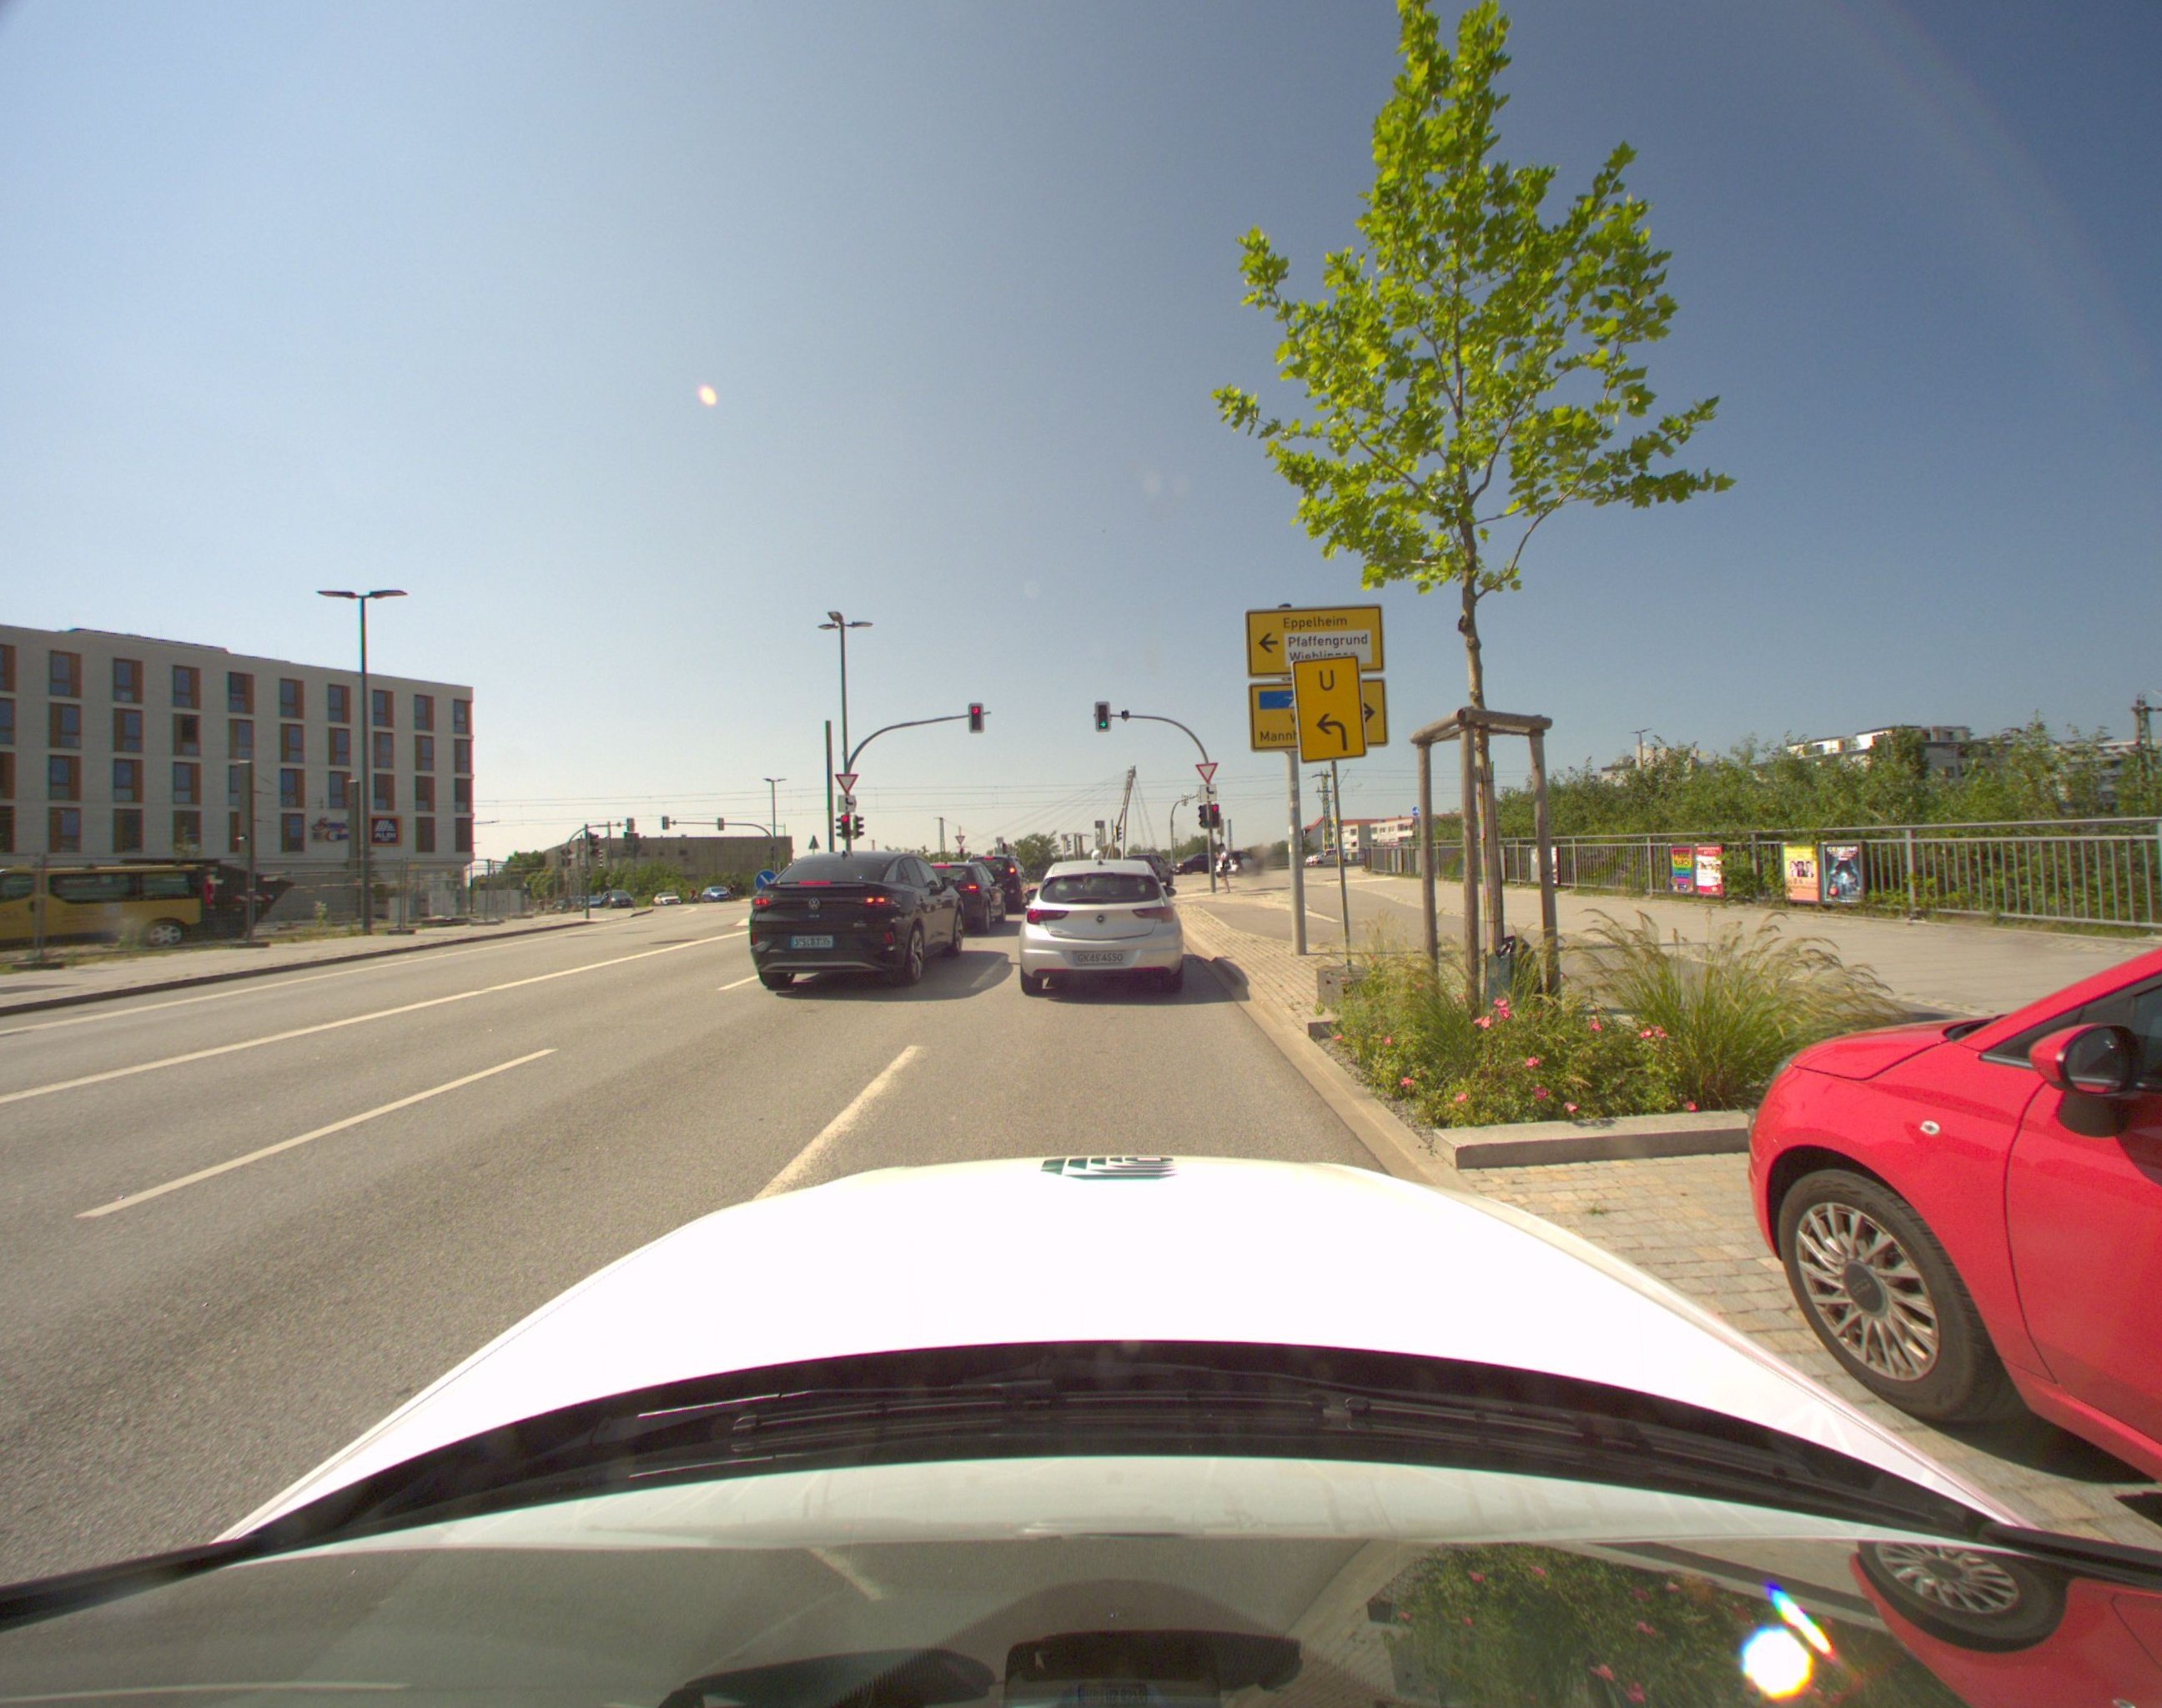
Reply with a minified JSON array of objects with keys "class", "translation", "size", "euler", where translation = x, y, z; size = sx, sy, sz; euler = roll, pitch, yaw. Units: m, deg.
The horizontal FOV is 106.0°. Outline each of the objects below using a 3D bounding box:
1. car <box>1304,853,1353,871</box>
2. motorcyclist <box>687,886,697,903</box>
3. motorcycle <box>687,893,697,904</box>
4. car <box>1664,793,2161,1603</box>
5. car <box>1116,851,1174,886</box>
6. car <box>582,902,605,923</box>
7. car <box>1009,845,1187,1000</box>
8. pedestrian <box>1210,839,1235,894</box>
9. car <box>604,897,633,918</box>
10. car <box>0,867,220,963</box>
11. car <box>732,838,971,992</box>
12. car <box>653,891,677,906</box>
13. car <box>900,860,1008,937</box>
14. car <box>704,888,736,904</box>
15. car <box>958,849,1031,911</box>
[{"class":"car","translation":[20.955,0.672,68.890],"size":[3.628,1.486,1.683],"euler":[0,-1,-13]},{"class":"motorcyclist","translation":[-36.159,3.768,75.651],"size":[0.756,1.494,0.670],"euler":[0,-1,-35]},{"class":"motorcycle","translation":[-36.118,4.155,75.581],"size":[0.523,0.955,1.914],"euler":[0,-1,-34]},{"class":"car","translation":[2.742,0.600,1.089],"size":[1.603,1.496,3.356],"euler":[-4,0,4]},{"class":"car","translation":[3.085,0.642,38.423],"size":[1.710,1.564,4.020],"euler":[0,0,19]},{"class":"car","translation":[-43.456,5.198,72.581],"size":[1.578,1.587,3.442],"euler":[0,-1,-35]},{"class":"car","translation":[0.179,0.713,10.230],"size":[1.737,1.478,3.999],"euler":[-3,-1,0]},{"class":"pedestrian","translation":[4.945,0.441,28.421],"size":[0.645,1.836,0.798],"euler":[-3,-1,0]},{"class":"car","translation":[-37.718,4.338,66.424],"size":[1.686,1.476,3.368],"euler":[-2,0,-36]},{"class":"car","translation":[-22.548,1.294,18.065],"size":[1.964,1.962,4.655],"euler":[-1,-1,41]},{"class":"car","translation":[-2.759,0.683,10.927],"size":[1.794,1.641,4.368],"euler":[-1,-1,2]},{"class":"car","translation":[-42.551,4.553,83.273],"size":[1.617,1.339,2.892],"euler":[0,-1,-38]},{"class":"car","translation":[-2.567,0.853,17.249],"size":[1.569,1.434,3.787],"euler":[0,-1,2]},{"class":"car","translation":[-32.315,3.732,72.841],"size":[1.831,1.331,3.955],"euler":[0,-2,-37]},{"class":"car","translation":[-2.372,0.696,23.214],"size":[1.644,1.615,3.820],"euler":[0,-1,0]}]
